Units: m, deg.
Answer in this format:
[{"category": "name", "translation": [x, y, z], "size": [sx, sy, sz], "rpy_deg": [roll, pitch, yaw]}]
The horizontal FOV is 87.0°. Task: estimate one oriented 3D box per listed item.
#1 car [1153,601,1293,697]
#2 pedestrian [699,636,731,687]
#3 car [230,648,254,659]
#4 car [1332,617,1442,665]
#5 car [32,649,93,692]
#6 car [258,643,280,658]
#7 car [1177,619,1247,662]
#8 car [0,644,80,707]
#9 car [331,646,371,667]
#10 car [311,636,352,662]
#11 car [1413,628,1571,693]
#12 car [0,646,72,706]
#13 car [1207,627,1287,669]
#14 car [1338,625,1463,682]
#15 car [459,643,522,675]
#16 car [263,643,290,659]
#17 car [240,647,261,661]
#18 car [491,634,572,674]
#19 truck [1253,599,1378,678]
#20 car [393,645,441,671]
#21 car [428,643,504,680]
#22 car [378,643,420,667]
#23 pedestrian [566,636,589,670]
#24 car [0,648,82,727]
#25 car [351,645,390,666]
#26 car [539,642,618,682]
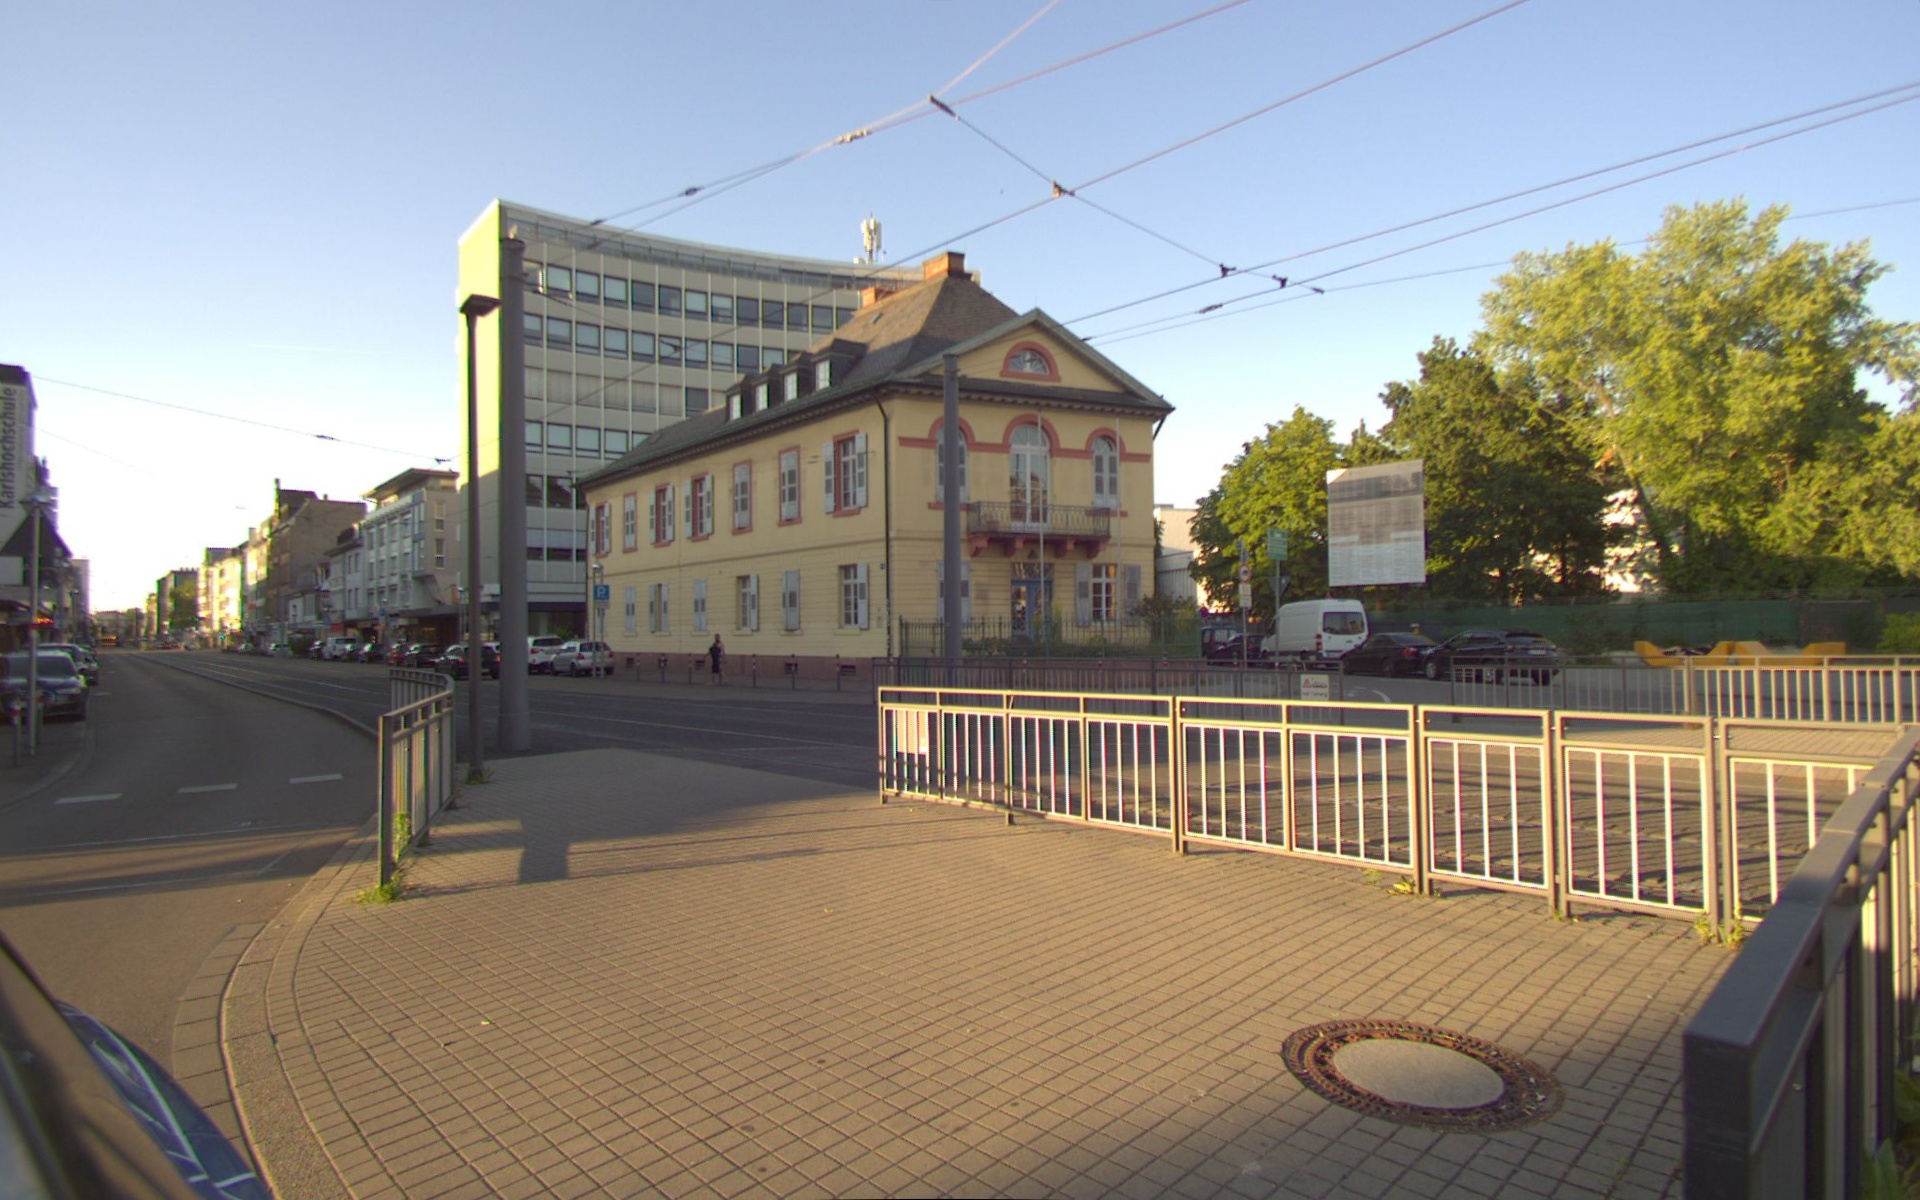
[{"category": "car", "translation": [6.217, 1.112, 23.622], "size": [1.994, 2.029, 3.955], "rpy_deg": [-2, -3, 33]}, {"category": "pedestrian", "translation": [-7.665, 1.911, 31.676], "size": [0.719, 1.548, 0.711], "rpy_deg": [-3, -3, 45]}, {"category": "car", "translation": [-95.427, 7.101, 134.489], "size": [1.970, 1.431, 4.408], "rpy_deg": [-1, -1, -43]}, {"category": "car", "translation": [18.870, 1.821, 44.816], "size": [1.970, 2.029, 4.002], "rpy_deg": [1, -3, -45]}, {"category": "car", "translation": [-37.145, 2.864, 41.887], "size": [1.770, 1.544, 4.863], "rpy_deg": [-1, -1, -42]}, {"category": "car", "translation": [-76.944, 5.573, 112.670], "size": [1.635, 1.582, 3.476], "rpy_deg": [-1, -1, -40]}, {"category": "car", "translation": [12.076, 1.898, 48.748], "size": [1.969, 1.900, 4.005], "rpy_deg": [-2, -1, -5]}, {"category": "car", "translation": [-28.403, 2.258, 31.250], "size": [1.833, 1.714, 4.424], "rpy_deg": [-1, -1, -41]}, {"category": "car", "translation": [-46.604, 4.306, 77.461], "size": [1.849, 1.437, 4.577], "rpy_deg": [-1, -1, -41]}, {"category": "car", "translation": [-51.583, 3.978, 83.048], "size": [1.940, 2.029, 5.106], "rpy_deg": [-1, -1, -42]}, {"category": "car", "translation": [14.670, 1.616, 28.189], "size": [1.969, 1.558, 4.005], "rpy_deg": [-2, -1, -5]}, {"category": "car", "translation": [-25.265, 2.024, 27.487], "size": [1.631, 1.431, 4.197], "rpy_deg": [-1, -1, -41]}, {"category": "car", "translation": [12.448, 2.053, 44.158], "size": [1.969, 1.589, 4.005], "rpy_deg": [-2, -1, -5]}, {"category": "car", "translation": [14.229, 1.685, 32.938], "size": [1.969, 1.589, 4.005], "rpy_deg": [-2, -1, -5]}, {"category": "car", "translation": [-23.555, 2.951, 50.690], "size": [1.700, 1.464, 4.289], "rpy_deg": [-1, -1, -41]}, {"category": "car", "translation": [-73.814, 5.498, 109.256], "size": [1.868, 1.568, 4.629], "rpy_deg": [-1, -1, -41]}, {"category": "car", "translation": [-87.385, 6.624, 124.624], "size": [1.819, 1.504, 3.822], "rpy_deg": [-1, -1, -41]}, {"category": "car", "translation": [-19.558, 2.443, 46.049], "size": [1.864, 1.673, 4.766], "rpy_deg": [-1, -1, -43]}, {"category": "truck", "translation": [13.359, 1.385, 38.479], "size": [2.162, 2.719, 5.474], "rpy_deg": [-2, -1, -7]}, {"category": "car", "translation": [-32.783, 3.491, 61.046], "size": [1.671, 1.436, 3.971], "rpy_deg": [-2, -1, -41]}, {"category": "car", "translation": [-20.234, 2.488, 41.374], "size": [1.745, 1.387, 4.228], "rpy_deg": [1, -2, -41]}, {"category": "car", "translation": [-36.028, 3.516, 64.963], "size": [1.671, 1.445, 3.597], "rpy_deg": [0, -3, -41]}, {"category": "pedestrian", "translation": [-18.254, 2.513, 48.275], "size": [0.789, 1.553, 0.879], "rpy_deg": [-1, -1, -39]}, {"category": "car", "translation": [-19.926, 1.803, 21.589], "size": [1.768, 1.423, 4.694], "rpy_deg": [-1, -1, -41]}, {"category": "car", "translation": [-42.160, 3.966, 72.360], "size": [1.768, 1.472, 4.097], "rpy_deg": [1, -3, -40]}, {"category": "car", "translation": [-15.806, 2.554, 41.841], "size": [1.727, 1.485, 4.005], "rpy_deg": [-1, -2, -41]}]
